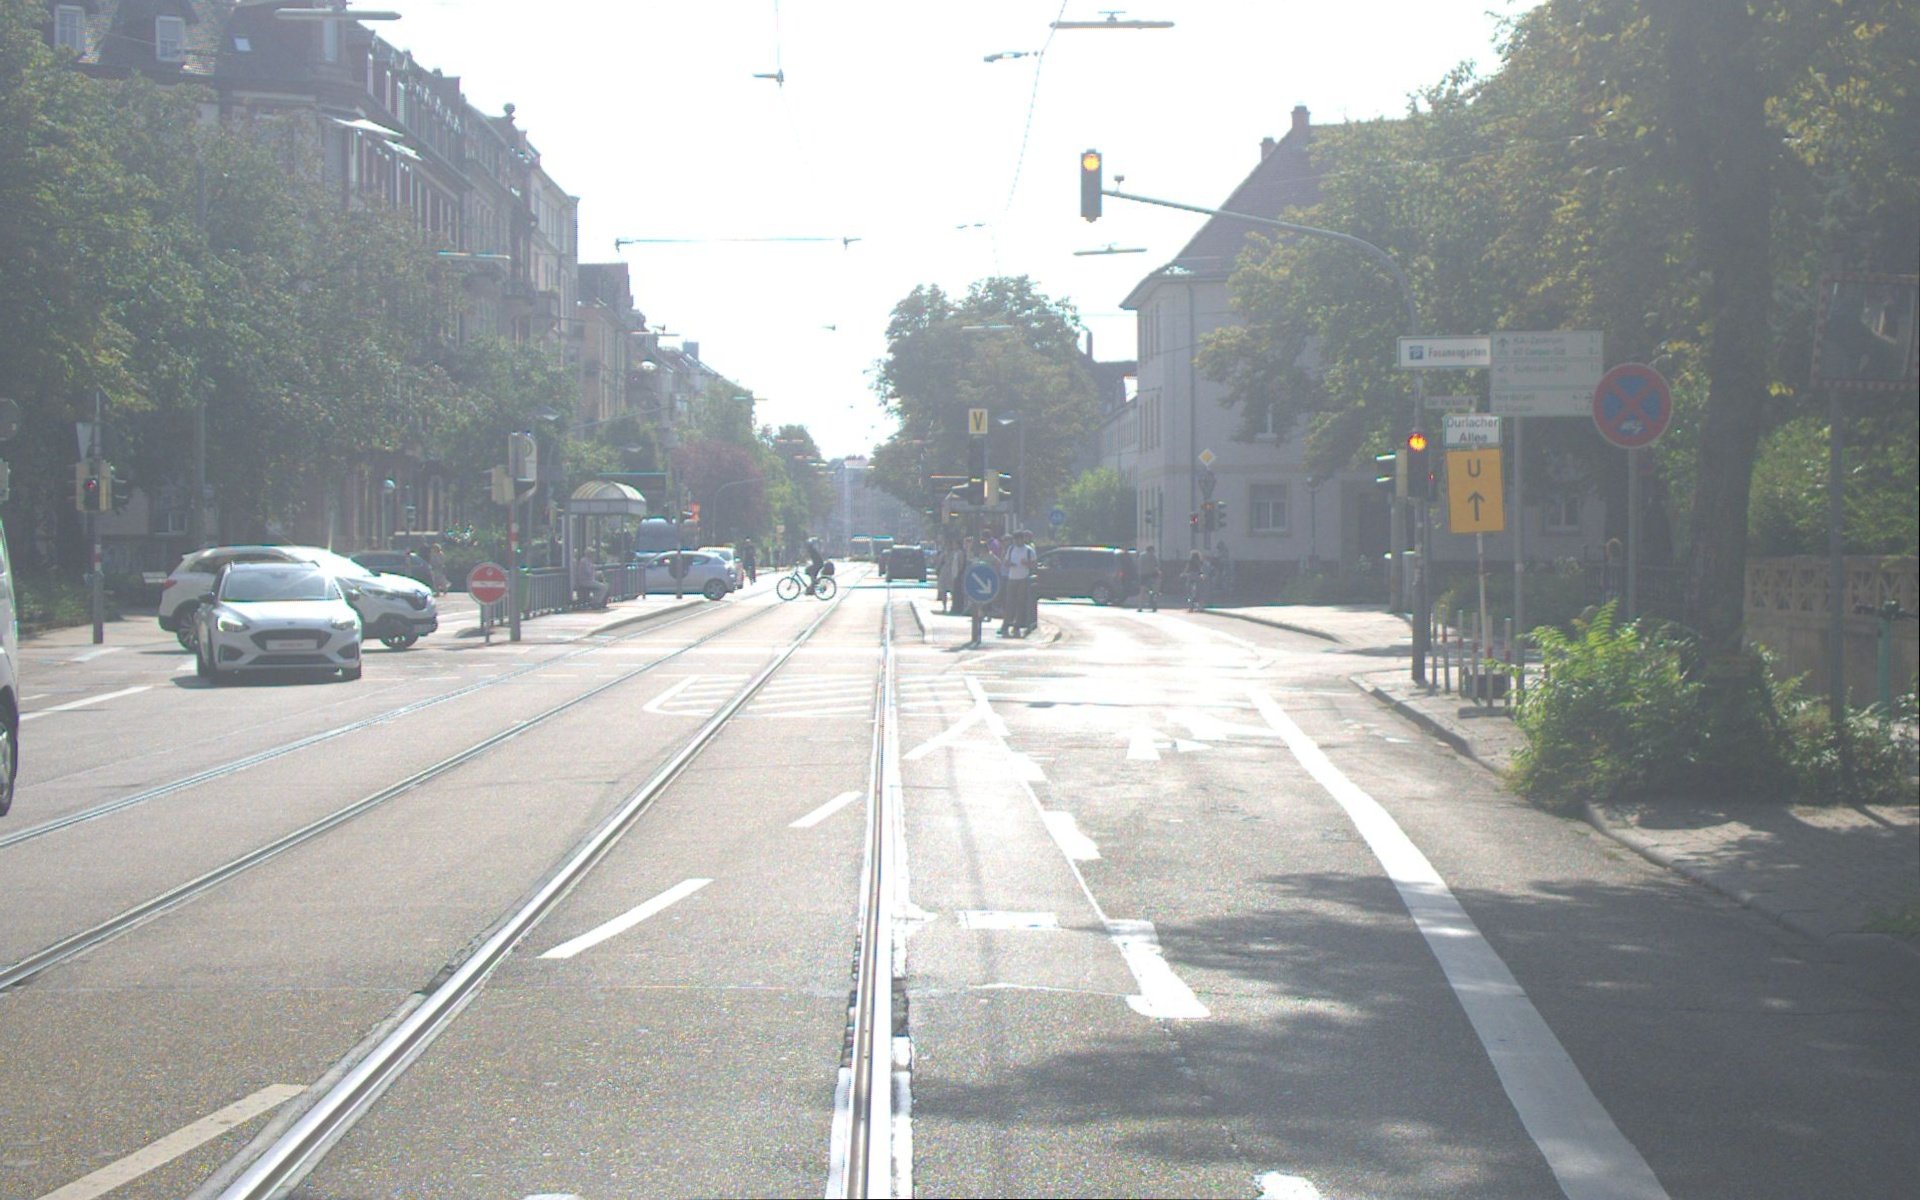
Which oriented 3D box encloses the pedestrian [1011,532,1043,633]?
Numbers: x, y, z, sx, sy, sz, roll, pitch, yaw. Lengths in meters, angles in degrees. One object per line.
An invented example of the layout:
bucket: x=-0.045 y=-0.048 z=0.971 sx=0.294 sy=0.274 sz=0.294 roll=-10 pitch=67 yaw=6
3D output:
pedestrian: x=1.243 y=-0.331 z=64.086 sx=0.504 sy=1.827 sz=0.534 roll=2 pitch=3 yaw=0

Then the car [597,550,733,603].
car: x=-8.760 y=-0.710 z=102.035 sx=3.963 sy=1.546 sz=2.000 roll=0 pitch=1 yaw=-5

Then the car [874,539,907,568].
car: x=-4.005 y=-2.713 z=199.478 sx=1.801 sy=1.648 sz=3.642 roll=0 pitch=1 yaw=1

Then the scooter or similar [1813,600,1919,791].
scooter or similar: x=6.022 y=0.614 z=22.663 sx=0.558 sy=1.193 sz=1.034 roll=-3 pitch=0 yaw=5

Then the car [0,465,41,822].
car: x=-6.320 y=0.269 z=18.032 sx=1.993 sy=2.007 sz=4.860 roll=0 pitch=1 yaw=-4

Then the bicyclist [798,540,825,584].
bicyclist: x=-4.477 y=-1.157 z=103.629 sx=0.819 sy=1.323 sz=0.548 roll=0 pitch=1 yaw=-3

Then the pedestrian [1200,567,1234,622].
pedestrian: x=8.184 y=-0.190 z=109.380 sx=0.892 sy=1.734 sz=0.775 roll=0 pitch=1 yaw=21

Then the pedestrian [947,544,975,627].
pedestrian: x=0.021 y=-0.322 z=75.034 sx=0.532 sy=1.753 sz=0.545 roll=3 pitch=3 yaw=1

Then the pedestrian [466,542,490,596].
pedestrian: x=-15.952 y=-1.033 z=113.784 sx=0.533 sy=1.753 sz=0.544 roll=4 pitch=3 yaw=26

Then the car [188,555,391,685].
car: x=-8.301 y=0.206 z=42.898 sx=1.872 sy=1.449 sz=4.546 roll=-3 pitch=1 yaw=-4

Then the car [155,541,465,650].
car: x=-10.018 y=-0.091 z=53.030 sx=4.323 sy=1.625 sz=1.998 roll=0 pitch=1 yaw=23

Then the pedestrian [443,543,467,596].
pedestrian: x=-16.611 y=-1.006 z=113.077 sx=0.533 sy=1.685 sz=0.544 roll=4 pitch=3 yaw=20

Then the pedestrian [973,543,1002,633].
pedestrian: x=0.553 y=-0.246 z=68.795 sx=0.504 sy=1.753 sz=0.534 roll=2 pitch=3 yaw=0

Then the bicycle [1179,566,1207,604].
bicycle: x=6.135 y=-0.405 z=90.696 sx=0.558 sy=0.974 sz=1.856 roll=0 pitch=1 yaw=-2

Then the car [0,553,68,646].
car: x=-16.866 y=-0.037 z=56.702 sx=4.783 sy=1.461 sz=1.865 roll=1 pitch=1 yaw=43

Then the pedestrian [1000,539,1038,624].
pedestrian: x=1.250 y=-0.398 z=72.987 sx=0.709 sy=1.753 sz=0.534 roll=2 pitch=3 yaw=0

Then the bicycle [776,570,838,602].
bicycle: x=-4.615 y=-0.423 z=103.631 sx=1.850 sy=0.955 sz=0.548 roll=0 pitch=1 yaw=-3

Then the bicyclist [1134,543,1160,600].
bicyclist: x=4.955 y=-0.770 z=91.255 sx=0.629 sy=1.502 sz=0.678 roll=0 pitch=1 yaw=-2

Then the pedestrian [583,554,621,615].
pedestrian: x=-7.970 y=-0.350 z=76.499 sx=0.827 sy=1.354 sz=0.776 roll=0 pitch=1 yaw=-5

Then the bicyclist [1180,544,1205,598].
bicyclist: x=6.127 y=-0.777 z=90.705 sx=0.558 sy=1.412 sz=0.872 roll=0 pitch=1 yaw=-2

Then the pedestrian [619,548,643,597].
pedestrian: x=-11.616 y=-0.974 z=121.325 sx=0.750 sy=1.725 sz=0.771 roll=0 pitch=1 yaw=2

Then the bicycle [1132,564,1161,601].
bicycle: x=4.950 y=-0.470 z=91.261 sx=0.629 sy=0.974 sz=1.770 roll=0 pitch=1 yaw=-2

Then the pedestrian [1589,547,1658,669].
pedestrian: x=9.480 y=0.108 z=49.132 sx=0.750 sy=1.725 sz=0.772 roll=0 pitch=1 yaw=-9

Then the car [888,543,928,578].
car: x=-2.441 y=-1.873 z=161.775 sx=1.801 sy=1.648 sz=3.642 roll=0 pitch=1 yaw=1

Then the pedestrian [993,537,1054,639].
pedestrian: x=1.105 y=-0.212 z=59.822 sx=0.701 sy=1.719 sz=0.746 roll=4 pitch=4 yaw=33
